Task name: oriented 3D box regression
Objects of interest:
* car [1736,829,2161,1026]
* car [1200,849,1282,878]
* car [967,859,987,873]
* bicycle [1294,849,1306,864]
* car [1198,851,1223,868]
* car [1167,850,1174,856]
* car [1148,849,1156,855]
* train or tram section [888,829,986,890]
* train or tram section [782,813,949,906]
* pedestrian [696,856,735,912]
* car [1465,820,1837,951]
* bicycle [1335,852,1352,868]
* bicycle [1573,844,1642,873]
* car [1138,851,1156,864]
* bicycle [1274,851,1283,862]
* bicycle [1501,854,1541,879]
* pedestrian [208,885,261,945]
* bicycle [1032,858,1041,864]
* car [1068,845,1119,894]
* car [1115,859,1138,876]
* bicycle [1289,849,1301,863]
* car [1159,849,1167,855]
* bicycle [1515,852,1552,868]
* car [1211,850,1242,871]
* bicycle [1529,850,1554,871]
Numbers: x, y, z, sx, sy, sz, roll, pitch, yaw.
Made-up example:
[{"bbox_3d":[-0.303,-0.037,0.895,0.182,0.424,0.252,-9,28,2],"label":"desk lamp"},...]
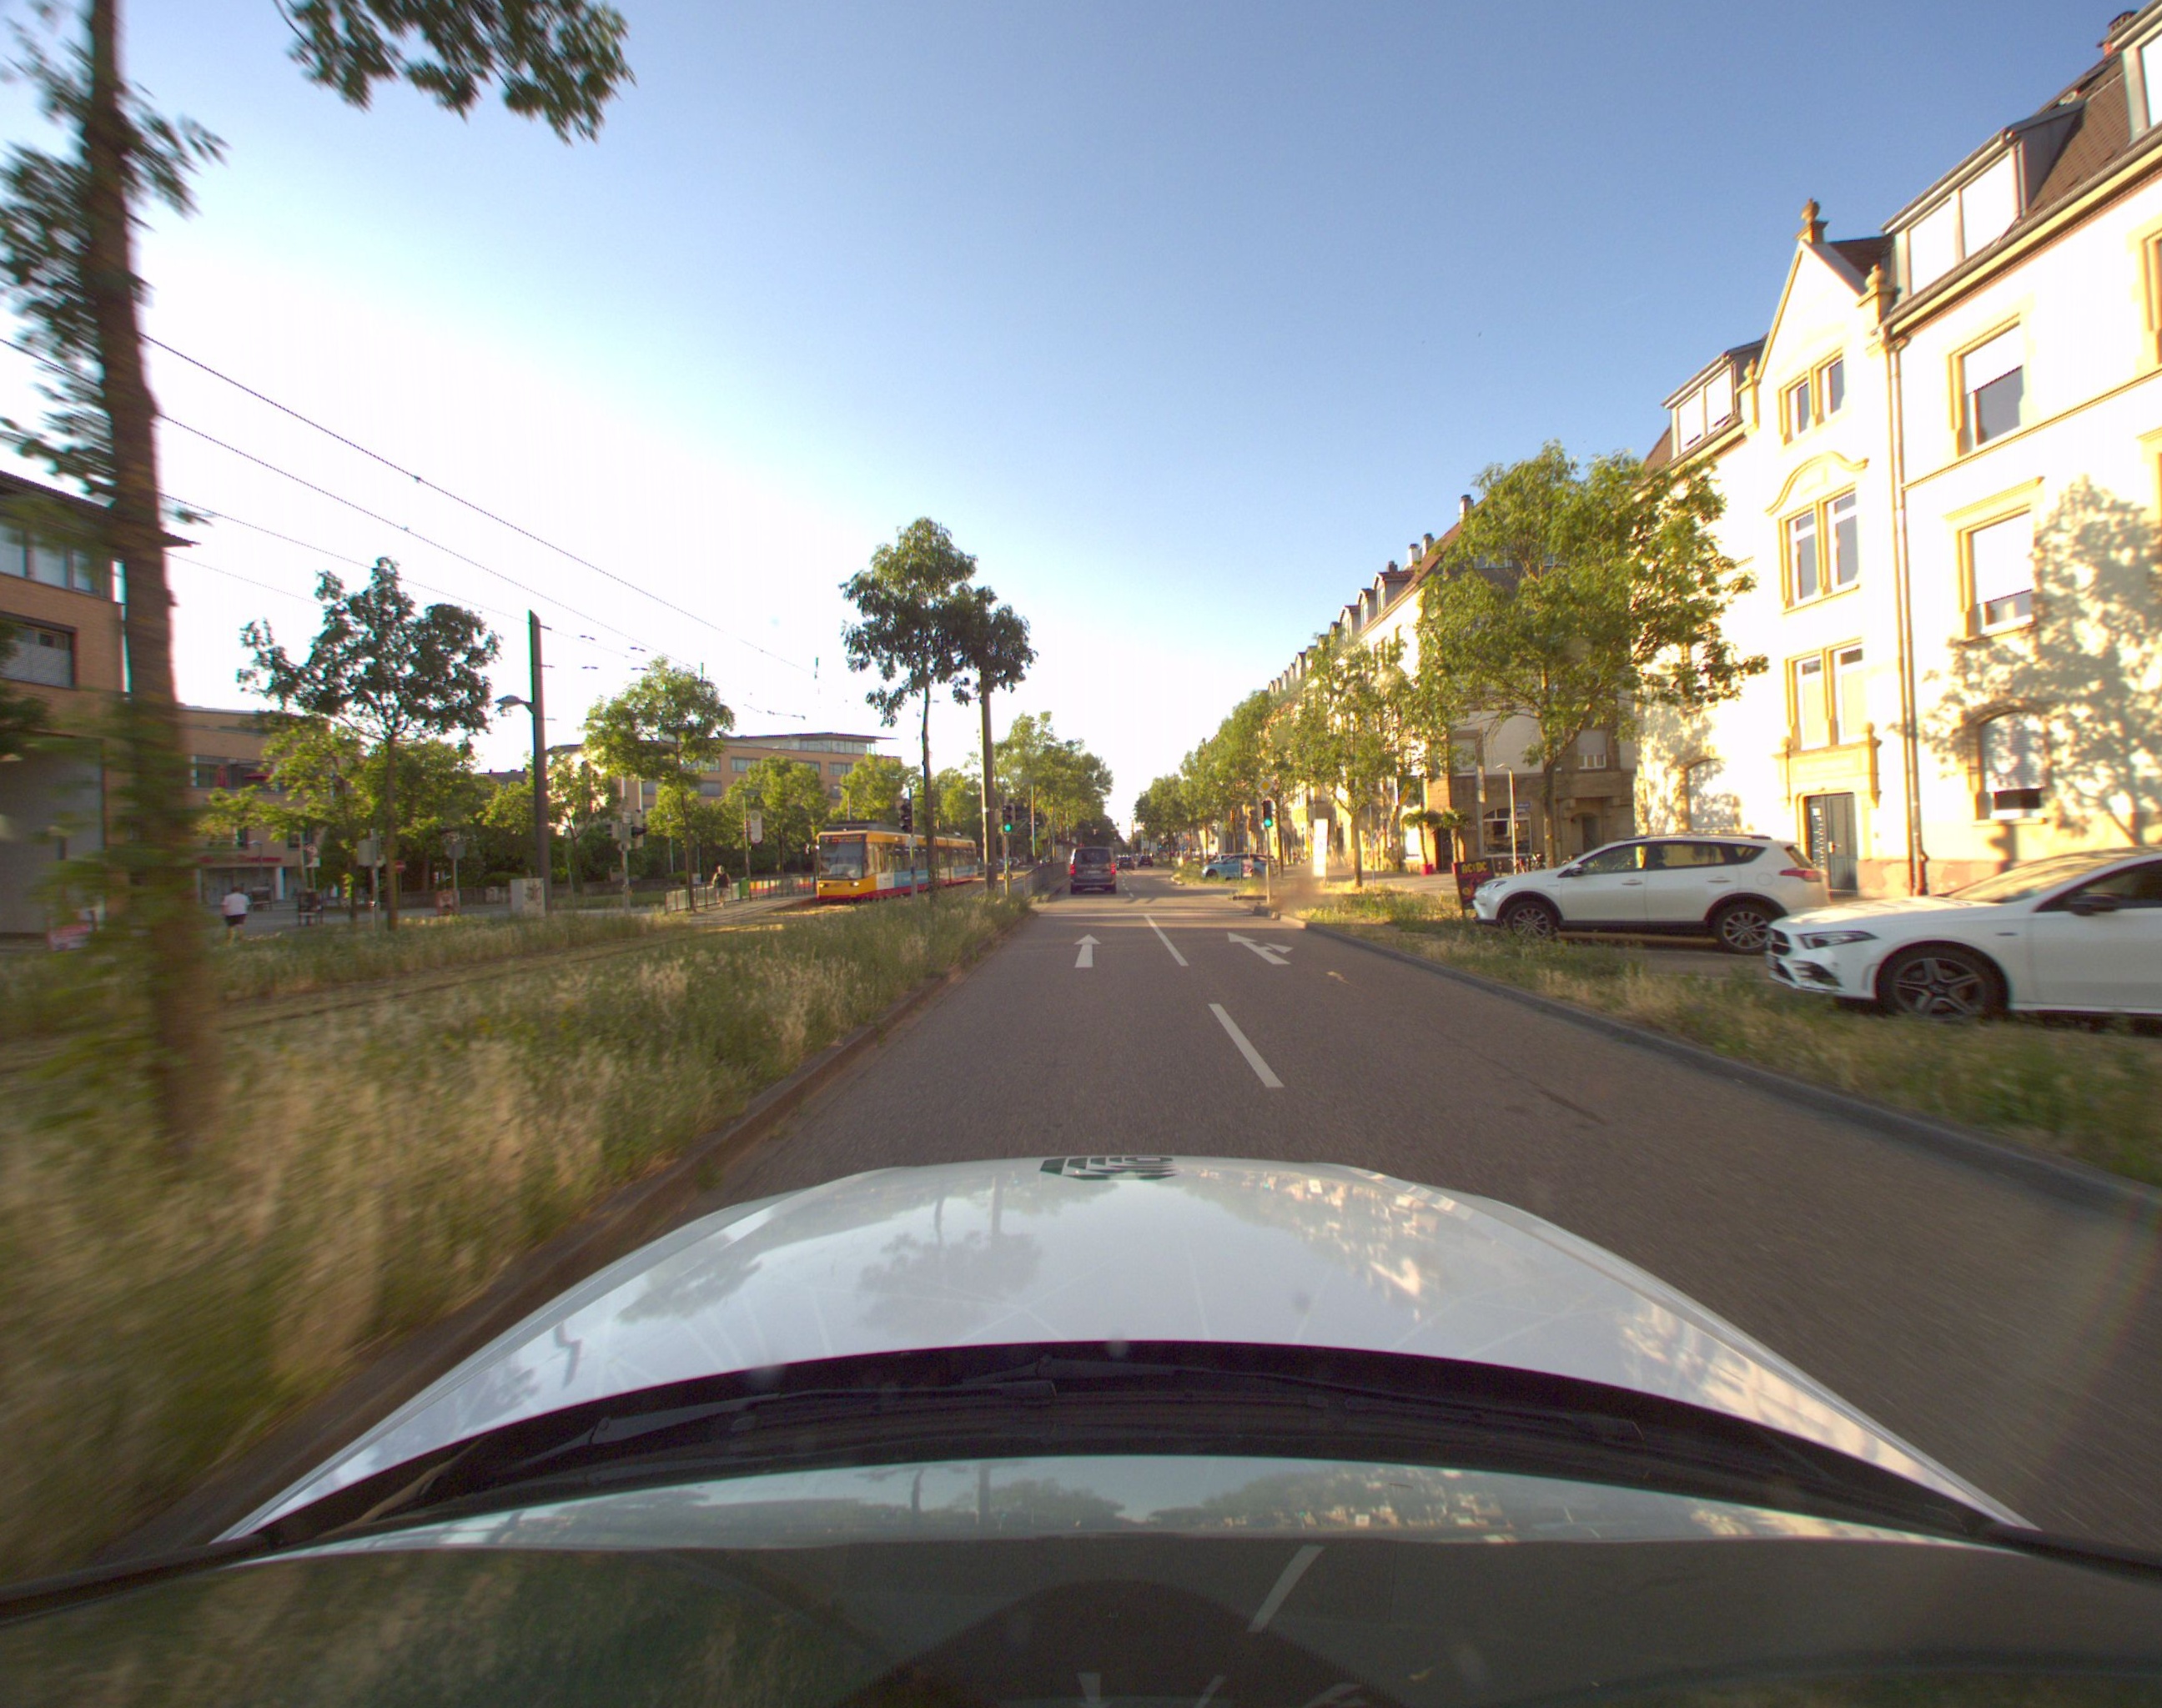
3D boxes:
[{"bbox_3d":[8.384,0.517,6.632,4.496,1.400,2.044,-2,-1,32],"label":"car"},{"bbox_3d":[9.245,0.568,47.277,4.232,1.522,1.859,-2,0,34],"label":"car"},{"bbox_3d":[-12.791,1.473,100.297,1.852,1.654,4.002,-2,0,2],"label":"car"},{"bbox_3d":[18.654,0.214,69.310,0.481,1.165,1.747,-7,0,2],"label":"bicycle"},{"bbox_3d":[11.483,0.433,72.341,1.697,1.448,4.291,0,0,2],"label":"car"},{"bbox_3d":[27.650,-0.359,251.148,1.985,1.656,4.303,-3,0,3],"label":"car"},{"bbox_3d":[22.130,-0.589,253.263,1.988,1.656,4.297,-3,0,-1],"label":"car"},{"bbox_3d":[-9.021,0.321,53.309,3.418,3.339,13.863,-2,0,2],"label":"train or tram section"},{"bbox_3d":[-9.499,0.221,38.800,3.418,3.430,15.033,-2,0,2],"label":"train or tram section"},{"bbox_3d":[-13.630,1.104,30.407,0.931,2.013,0.957,-2,-1,1],"label":"pedestrian"},{"bbox_3d":[8.538,0.436,12.586,4.375,1.691,1.928,-2,0,37],"label":"car"},{"bbox_3d":[18.371,0.392,57.015,0.570,1.073,1.897,-3,0,2],"label":"bicycle"},{"bbox_3d":[21.157,0.187,32.746,2.322,1.050,0.730,-2,0,-3],"label":"bicycle"},{"bbox_3d":[8.099,0.468,99.712,1.986,1.510,4.001,-1,0,1],"label":"car"},{"bbox_3d":[18.877,0.230,77.834,0.481,1.005,1.747,-2,0,2],"label":"bicycle"},{"bbox_3d":[16.570,0.474,30.716,0.458,0.872,1.885,-8,-1,2],"label":"bicycle"},{"bbox_3d":[-25.390,1.810,24.432,0.687,1.697,0.827,-2,0,-6],"label":"pedestrian"},{"bbox_3d":[-8.708,1.321,159.593,1.731,1.142,0.552,-3,0,-40],"label":"bicycle"},{"bbox_3d":[0.564,0.602,33.898,1.986,1.900,4.301,-1,0,2],"label":"car"},{"bbox_3d":[4.560,1.319,81.441,1.988,1.510,3.998,-1,0,-1],"label":"car"},{"bbox_3d":[18.720,0.165,71.213,0.481,1.165,1.747,-7,0,2],"label":"bicycle"},{"bbox_3d":[25.022,-0.550,248.609,1.988,1.656,4.297,-3,0,-1],"label":"car"},{"bbox_3d":[23.044,0.293,41.487,1.536,0.735,0.531,-2,1,1],"label":"bicycle"},{"bbox_3d":[11.182,0.465,62.876,1.719,1.512,4.273,0,0,1],"label":"car"},{"bbox_3d":[22.110,0.311,39.106,0.623,0.947,1.893,-2,1,16],"label":"bicycle"}]
